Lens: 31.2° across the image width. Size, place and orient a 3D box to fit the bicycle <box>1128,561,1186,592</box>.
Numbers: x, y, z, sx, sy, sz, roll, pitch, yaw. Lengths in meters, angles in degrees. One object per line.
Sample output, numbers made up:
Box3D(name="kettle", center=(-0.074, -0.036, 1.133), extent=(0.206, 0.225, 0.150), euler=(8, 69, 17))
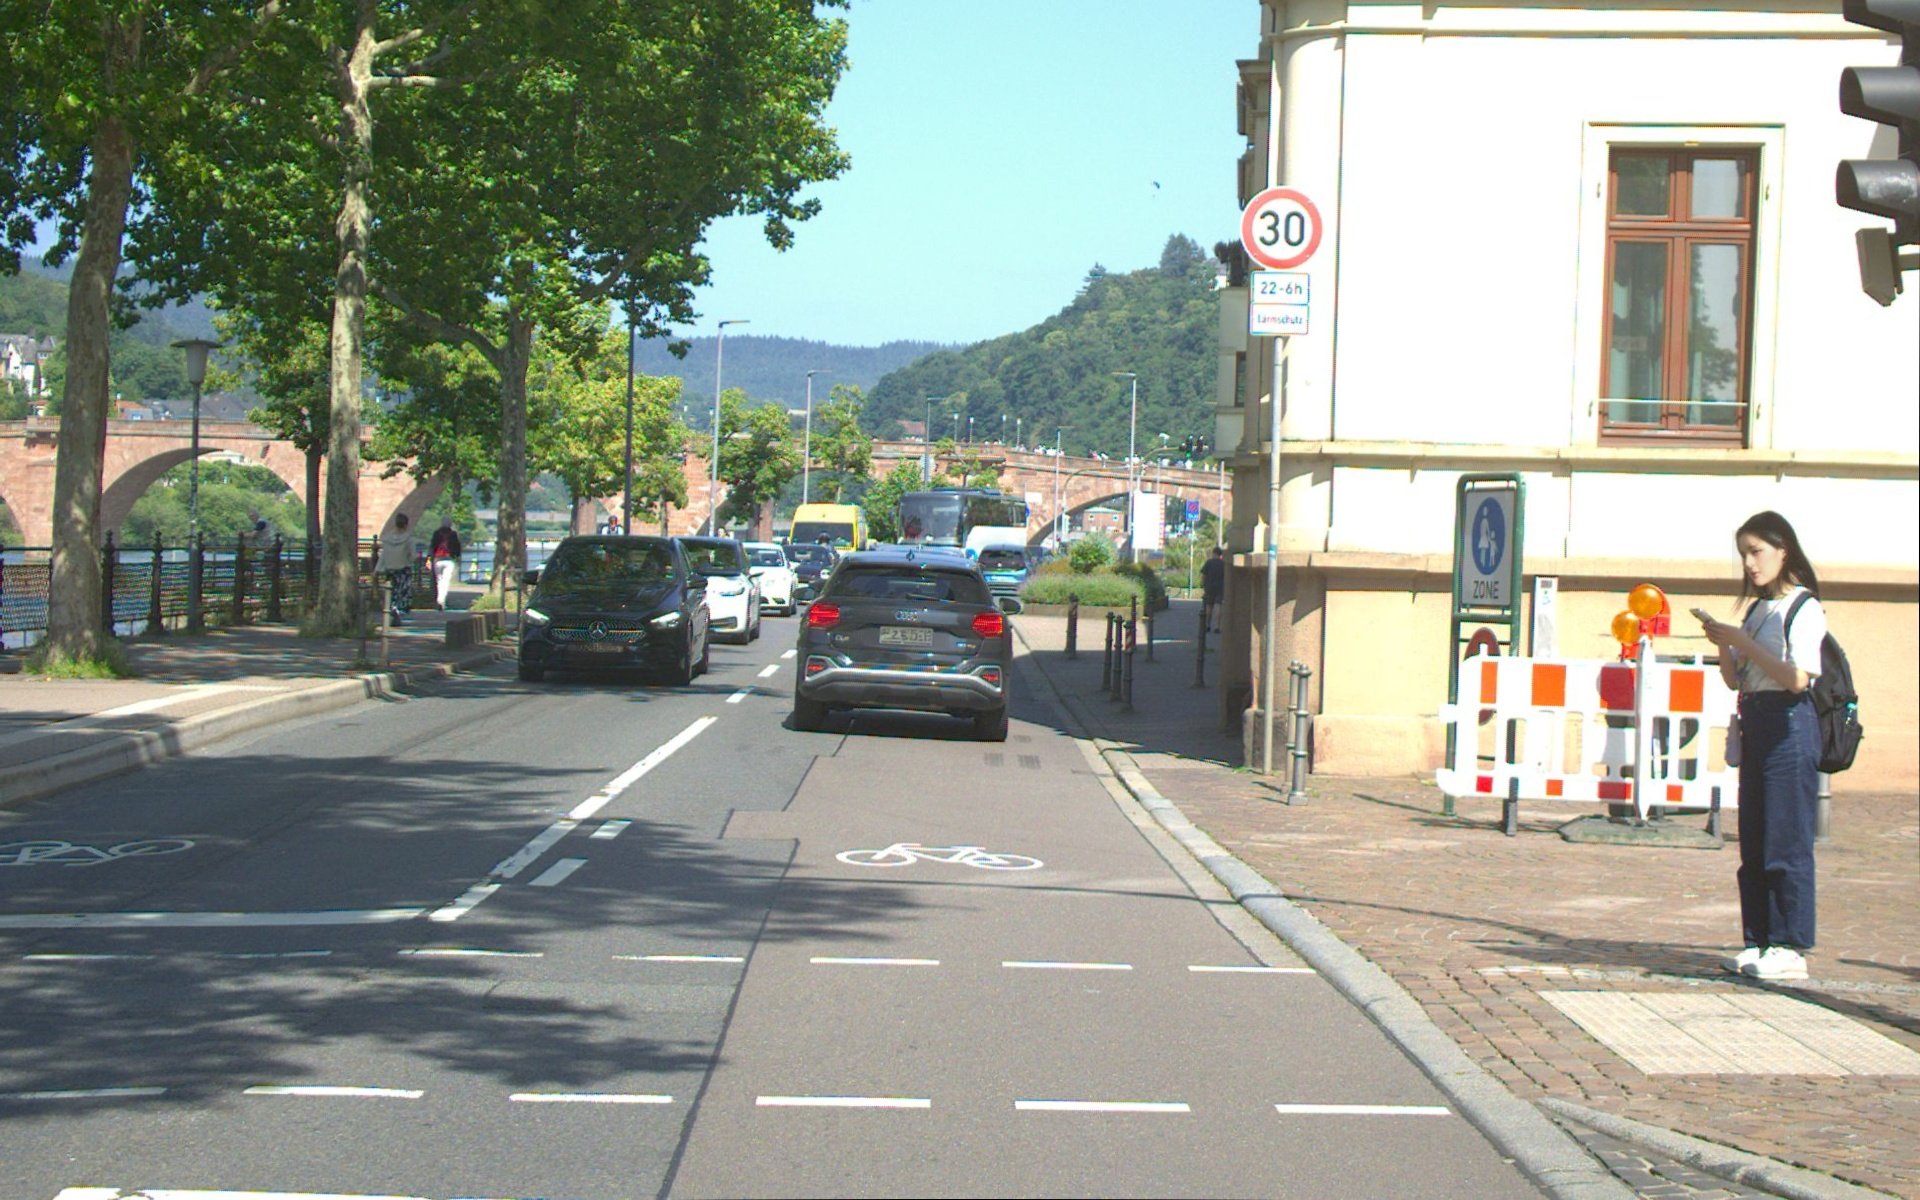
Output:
Box3D(name="bicycle", center=(6.387, -0.764, 111.437), extent=(1.810, 0.875, 0.502), euler=(4, 2, 4))

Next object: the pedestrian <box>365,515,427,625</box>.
Box3D(name="pedestrian", center=(-8.271, -0.440, 50.432), extent=(0.761, 1.581, 0.696), euler=(2, 1, -1))

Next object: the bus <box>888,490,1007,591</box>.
Box3D(name="bus", center=(-0.379, -2.185, 131.730), extent=(2.632, 3.552, 12.979), euler=(2, 0, 8))

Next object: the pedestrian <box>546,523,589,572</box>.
Box3D(name="pedestrian", center=(-10.523, -1.395, 92.191), extent=(0.937, 1.276, 0.849), euler=(2, 1, 8))

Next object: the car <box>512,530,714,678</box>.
Box3D(name="car", center=(-3.712, 0.013, 37.407), extent=(1.701, 1.513, 4.405), euler=(0, 1, 1))

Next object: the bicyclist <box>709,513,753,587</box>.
Box3D(name="bicyclist", center=(-4.985, -1.093, 74.841), extent=(0.766, 1.526, 1.025), euler=(3, 3, 1))

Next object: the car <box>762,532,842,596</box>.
Box3D(name="car", center=(-3.759, -0.863, 82.307), extent=(1.701, 1.453, 4.002), euler=(2, 1, 0))

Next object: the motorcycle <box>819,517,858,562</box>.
Box3D(name="motorcycle", center=(-3.140, -1.561, 88.560), extent=(0.883, 1.073, 2.329), euler=(1, 3, -4))

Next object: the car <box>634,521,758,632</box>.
Box3D(name="car", center=(-3.902, -0.382, 51.182), extent=(1.735, 1.513, 4.405), euler=(1, 2, -4))

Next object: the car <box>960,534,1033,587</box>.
Box3D(name="car", center=(1.148, -1.213, 105.357), extent=(1.927, 1.548, 4.831), euler=(1, 1, 4))

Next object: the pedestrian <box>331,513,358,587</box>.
Box3D(name="pedestrian", center=(-13.236, -1.074, 73.960), extent=(0.414, 1.592, 0.450), euler=(2, 1, 7))

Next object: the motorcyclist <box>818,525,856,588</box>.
Box3D(name="motorcyclist", center=(-3.161, -1.108, 88.274), extent=(0.878, 1.578, 1.025), euler=(2, 1, -5))

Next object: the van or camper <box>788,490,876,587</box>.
Box3D(name="van or camper", center=(-3.597, -1.731, 97.661), extent=(2.087, 2.548, 7.092), euler=(3, 1, 0))

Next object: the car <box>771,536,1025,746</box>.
Box3D(name="car", center=(-0.537, 0.281, 29.746), extent=(1.926, 1.548, 4.832), euler=(4, 1, -1))

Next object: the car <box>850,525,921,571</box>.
Box3D(name="car", center=(-2.361, -1.678, 110.071), extent=(1.814, 1.423, 4.310), euler=(1, 2, 5))

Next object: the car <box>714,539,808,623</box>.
Box3D(name="car", center=(-3.953, -0.406, 68.793), extent=(1.701, 1.440, 4.092), euler=(3, 2, -2))

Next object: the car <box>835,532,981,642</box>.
Box3D(name="car", center=(-0.703, -0.233, 50.050), extent=(1.926, 1.456, 4.832), euler=(2, 1, 1))

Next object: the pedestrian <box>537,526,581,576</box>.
Box3D(name="pedestrian", center=(-10.652, -1.300, 91.288), extent=(0.937, 1.276, 0.849), euler=(2, 1, 8))

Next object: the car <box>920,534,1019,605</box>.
Box3D(name="car", center=(0.253, -0.718, 79.297), extent=(1.927, 1.548, 4.831), euler=(1, 1, 4))

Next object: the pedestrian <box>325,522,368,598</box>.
Box3D(name="pedestrian", center=(-13.254, -0.870, 74.318), extent=(0.694, 1.610, 0.663), euler=(2, 1, 7))

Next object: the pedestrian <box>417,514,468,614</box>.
Box3D(name="pedestrian", center=(-9.024, -0.627, 60.003), extent=(0.656, 1.676, 0.758), euler=(5, 1, -1))

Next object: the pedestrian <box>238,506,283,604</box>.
Box3D(name="pedestrian", center=(-14.119, -0.902, 69.400), extent=(0.693, 1.938, 0.887), euler=(2, 1, -1))

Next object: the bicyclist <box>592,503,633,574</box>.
Box3D(name="bicyclist", center=(-7.818, -1.380, 77.347), extent=(0.719, 1.578, 1.089), euler=(2, 1, 1))

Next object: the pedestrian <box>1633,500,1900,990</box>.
Box3D(name="pedestrian", center=(2.857, 0.498, 12.230), extent=(0.715, 1.670, 0.682), euler=(2, 1, -1))

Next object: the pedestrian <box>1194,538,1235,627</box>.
Box3D(name="pedestrian", center=(4.953, -0.339, 66.882), extent=(0.762, 1.708, 0.696), euler=(-1, 0, 3))
